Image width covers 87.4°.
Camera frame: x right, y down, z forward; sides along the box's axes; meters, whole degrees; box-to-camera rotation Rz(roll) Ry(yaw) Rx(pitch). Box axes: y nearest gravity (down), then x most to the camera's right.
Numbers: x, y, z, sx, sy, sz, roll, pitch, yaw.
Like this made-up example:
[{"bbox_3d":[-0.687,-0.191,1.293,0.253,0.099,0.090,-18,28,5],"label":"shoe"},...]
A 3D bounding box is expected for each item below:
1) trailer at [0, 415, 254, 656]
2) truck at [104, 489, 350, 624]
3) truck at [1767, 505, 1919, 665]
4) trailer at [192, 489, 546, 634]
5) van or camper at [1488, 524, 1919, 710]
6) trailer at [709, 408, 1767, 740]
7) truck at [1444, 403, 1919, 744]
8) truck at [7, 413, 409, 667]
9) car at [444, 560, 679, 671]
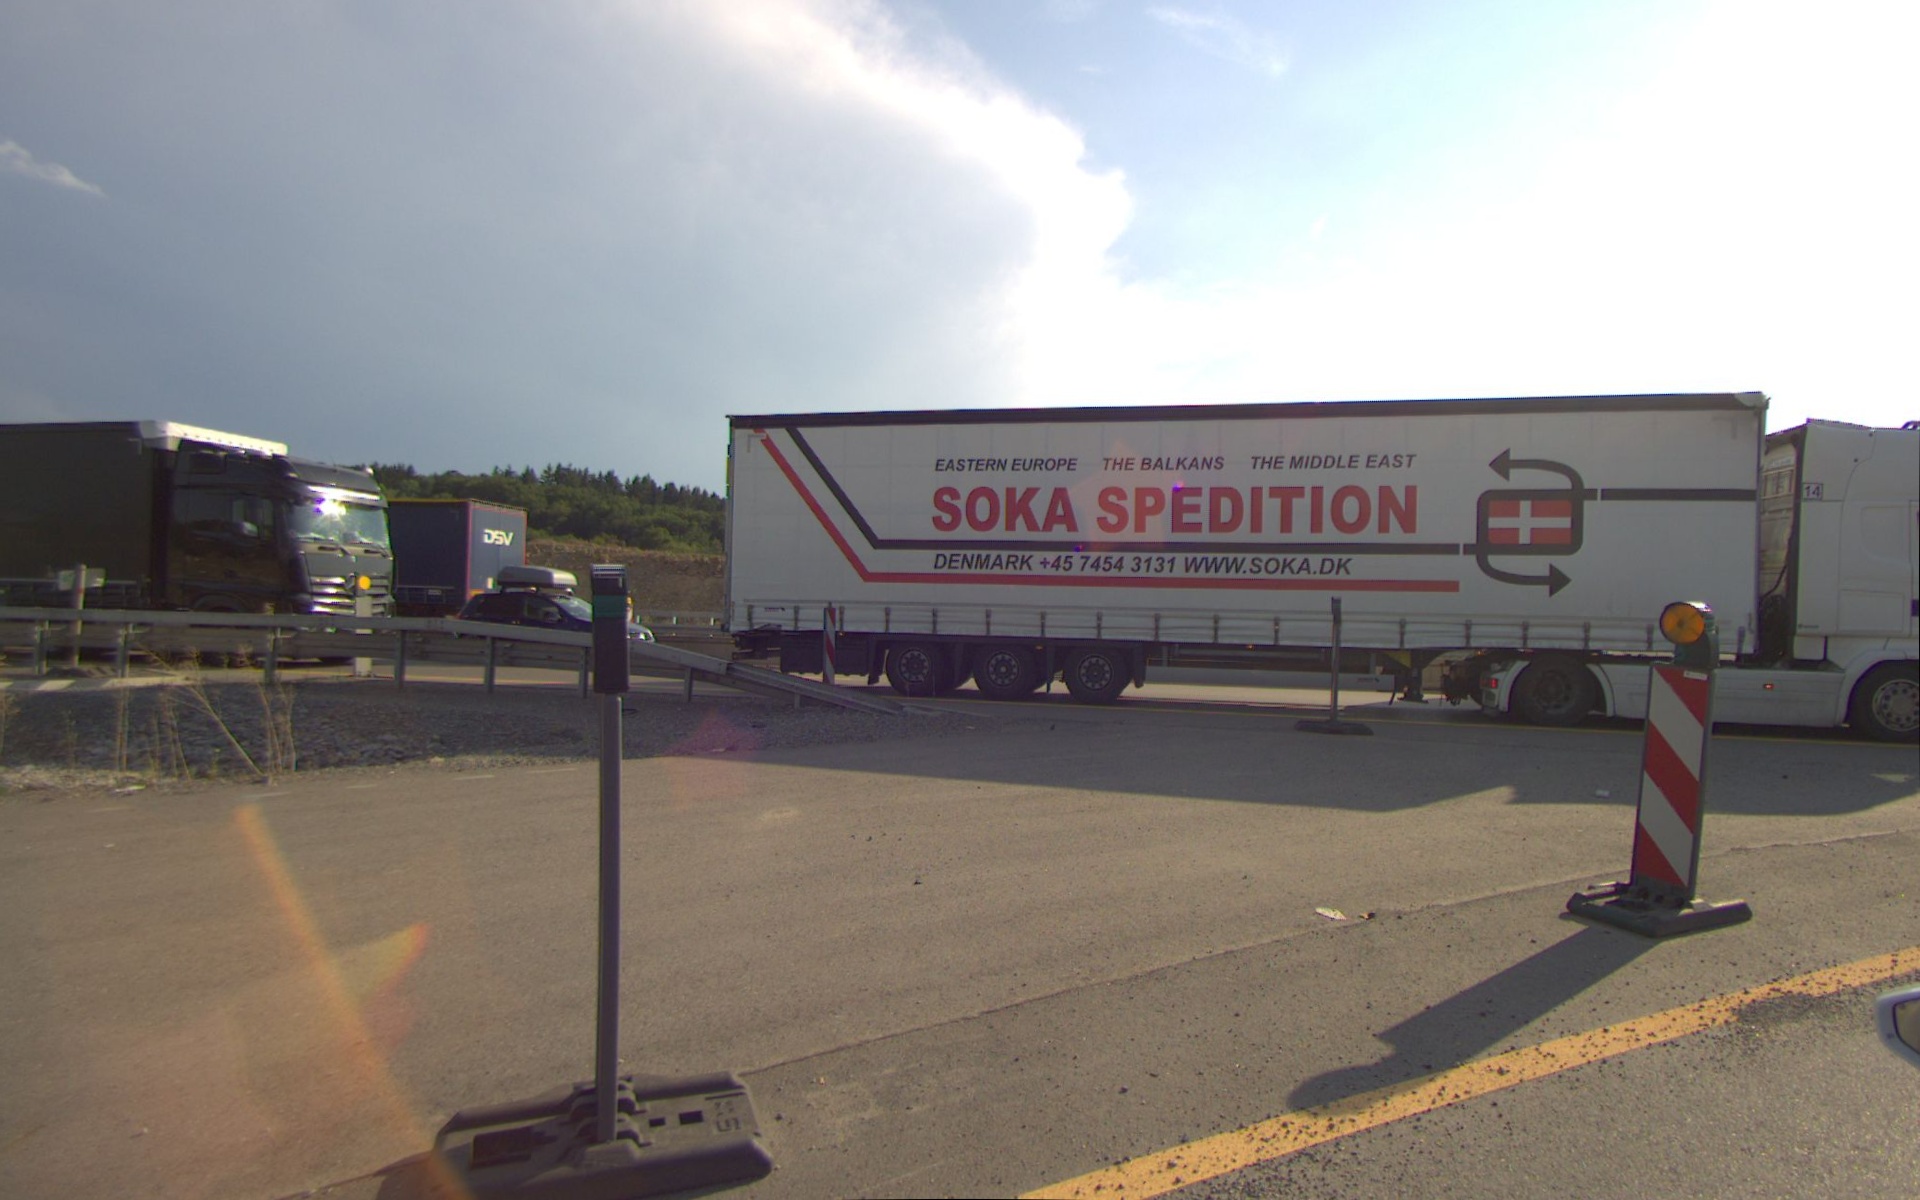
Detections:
[{"bbox_3d":[-20.645,-1.307,19.728,13.354,4.115,2.490,2,-1,12],"label":"trailer"},{"bbox_3d":[-22.519,-1.291,31.021,5.573,3.775,3.009,2,-2,13],"label":"truck"},{"bbox_3d":[20.769,-0.214,21.085,5.572,3.175,2.149,2,-2,12],"label":"truck"},{"bbox_3d":[-17.452,-1.126,29.823,9.376,3.800,3.019,2,-2,13],"label":"trailer"},{"bbox_3d":[12.072,0.246,16.307,5.784,2.654,2.001,2,-1,12],"label":"van or camper"},{"bbox_3d":[3.215,-0.517,14.466,13.354,3.929,2.490,2,-1,12],"label":"trailer"},{"bbox_3d":[9.865,-0.331,13.070,5.889,3.929,2.490,2,-1,12],"label":"truck"},{"bbox_3d":[-13.490,-1.041,18.172,5.890,4.114,2.490,2,-1,13],"label":"truck"},{"bbox_3d":[-8.135,0.320,20.635,4.243,2.040,1.528,2,-2,11],"label":"car"}]
